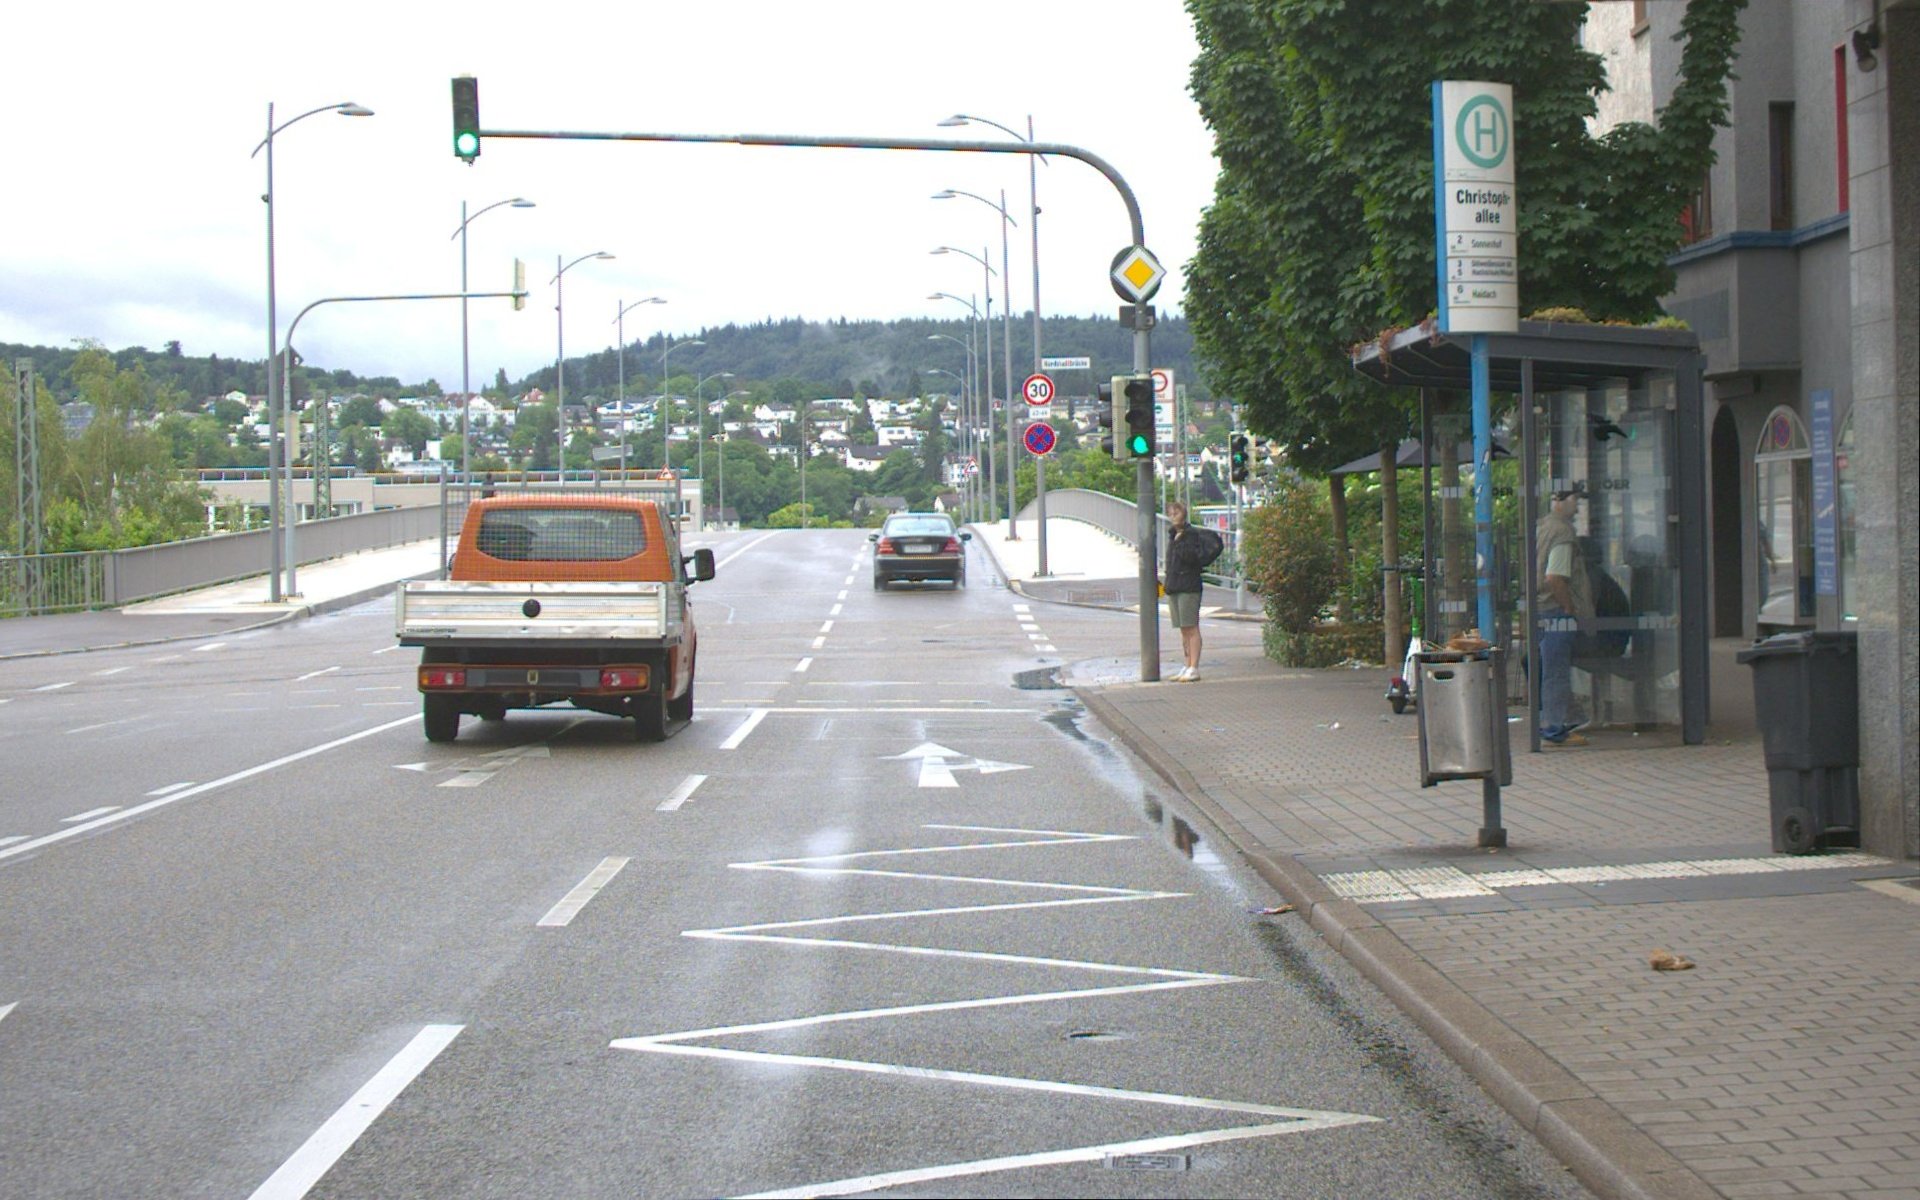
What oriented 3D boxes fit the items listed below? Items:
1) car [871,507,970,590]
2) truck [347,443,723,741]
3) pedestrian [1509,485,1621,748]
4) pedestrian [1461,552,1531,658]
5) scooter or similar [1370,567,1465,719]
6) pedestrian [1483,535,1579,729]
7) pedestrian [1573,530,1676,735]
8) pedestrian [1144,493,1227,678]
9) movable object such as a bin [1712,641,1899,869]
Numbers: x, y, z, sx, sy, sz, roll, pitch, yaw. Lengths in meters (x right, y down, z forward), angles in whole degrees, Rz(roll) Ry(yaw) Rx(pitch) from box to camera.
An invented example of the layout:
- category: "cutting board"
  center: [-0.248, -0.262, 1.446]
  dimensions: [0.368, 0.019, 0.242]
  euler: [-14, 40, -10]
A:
- category: "car"
  center: [-0.731, -0.959, 64.367]
  dimensions: [1.754, 1.474, 4.000]
  euler: [-1, 1, 0]
- category: "truck"
  center: [-3.286, -0.084, 27.775]
  dimensions: [2.399, 2.122, 5.315]
  euler: [-1, 1, -1]
- category: "pedestrian"
  center: [3.977, 0.101, 22.629]
  dimensions: [0.619, 1.693, 0.656]
  euler: [-1, 0, 4]
- category: "pedestrian"
  center: [6.111, 0.055, 39.208]
  dimensions: [0.664, 1.185, 0.557]
  euler: [-1, 0, -2]
- category: "scooter or similar"
  center: [3.644, 0.327, 27.461]
  dimensions: [0.511, 1.168, 1.549]
  euler: [-1, 1, 0]
- category: "pedestrian"
  center: [4.053, 0.222, 24.419]
  dimensions: [0.534, 1.345, 0.596]
  euler: [-1, 0, -2]
- category: "pedestrian"
  center: [4.605, 0.222, 23.834]
  dimensions: [0.563, 1.392, 0.514]
  euler: [-1, 0, -3]
- category: "pedestrian"
  center: [2.283, -0.148, 34.850]
  dimensions: [0.733, 1.835, 0.631]
  euler: [-1, 0, -2]
- category: "movable object such as a bin"
  center: [3.606, 0.652, 14.700]
  dimensions: [0.600, 0.923, 0.704]
  euler: [-1, 0, -1]
